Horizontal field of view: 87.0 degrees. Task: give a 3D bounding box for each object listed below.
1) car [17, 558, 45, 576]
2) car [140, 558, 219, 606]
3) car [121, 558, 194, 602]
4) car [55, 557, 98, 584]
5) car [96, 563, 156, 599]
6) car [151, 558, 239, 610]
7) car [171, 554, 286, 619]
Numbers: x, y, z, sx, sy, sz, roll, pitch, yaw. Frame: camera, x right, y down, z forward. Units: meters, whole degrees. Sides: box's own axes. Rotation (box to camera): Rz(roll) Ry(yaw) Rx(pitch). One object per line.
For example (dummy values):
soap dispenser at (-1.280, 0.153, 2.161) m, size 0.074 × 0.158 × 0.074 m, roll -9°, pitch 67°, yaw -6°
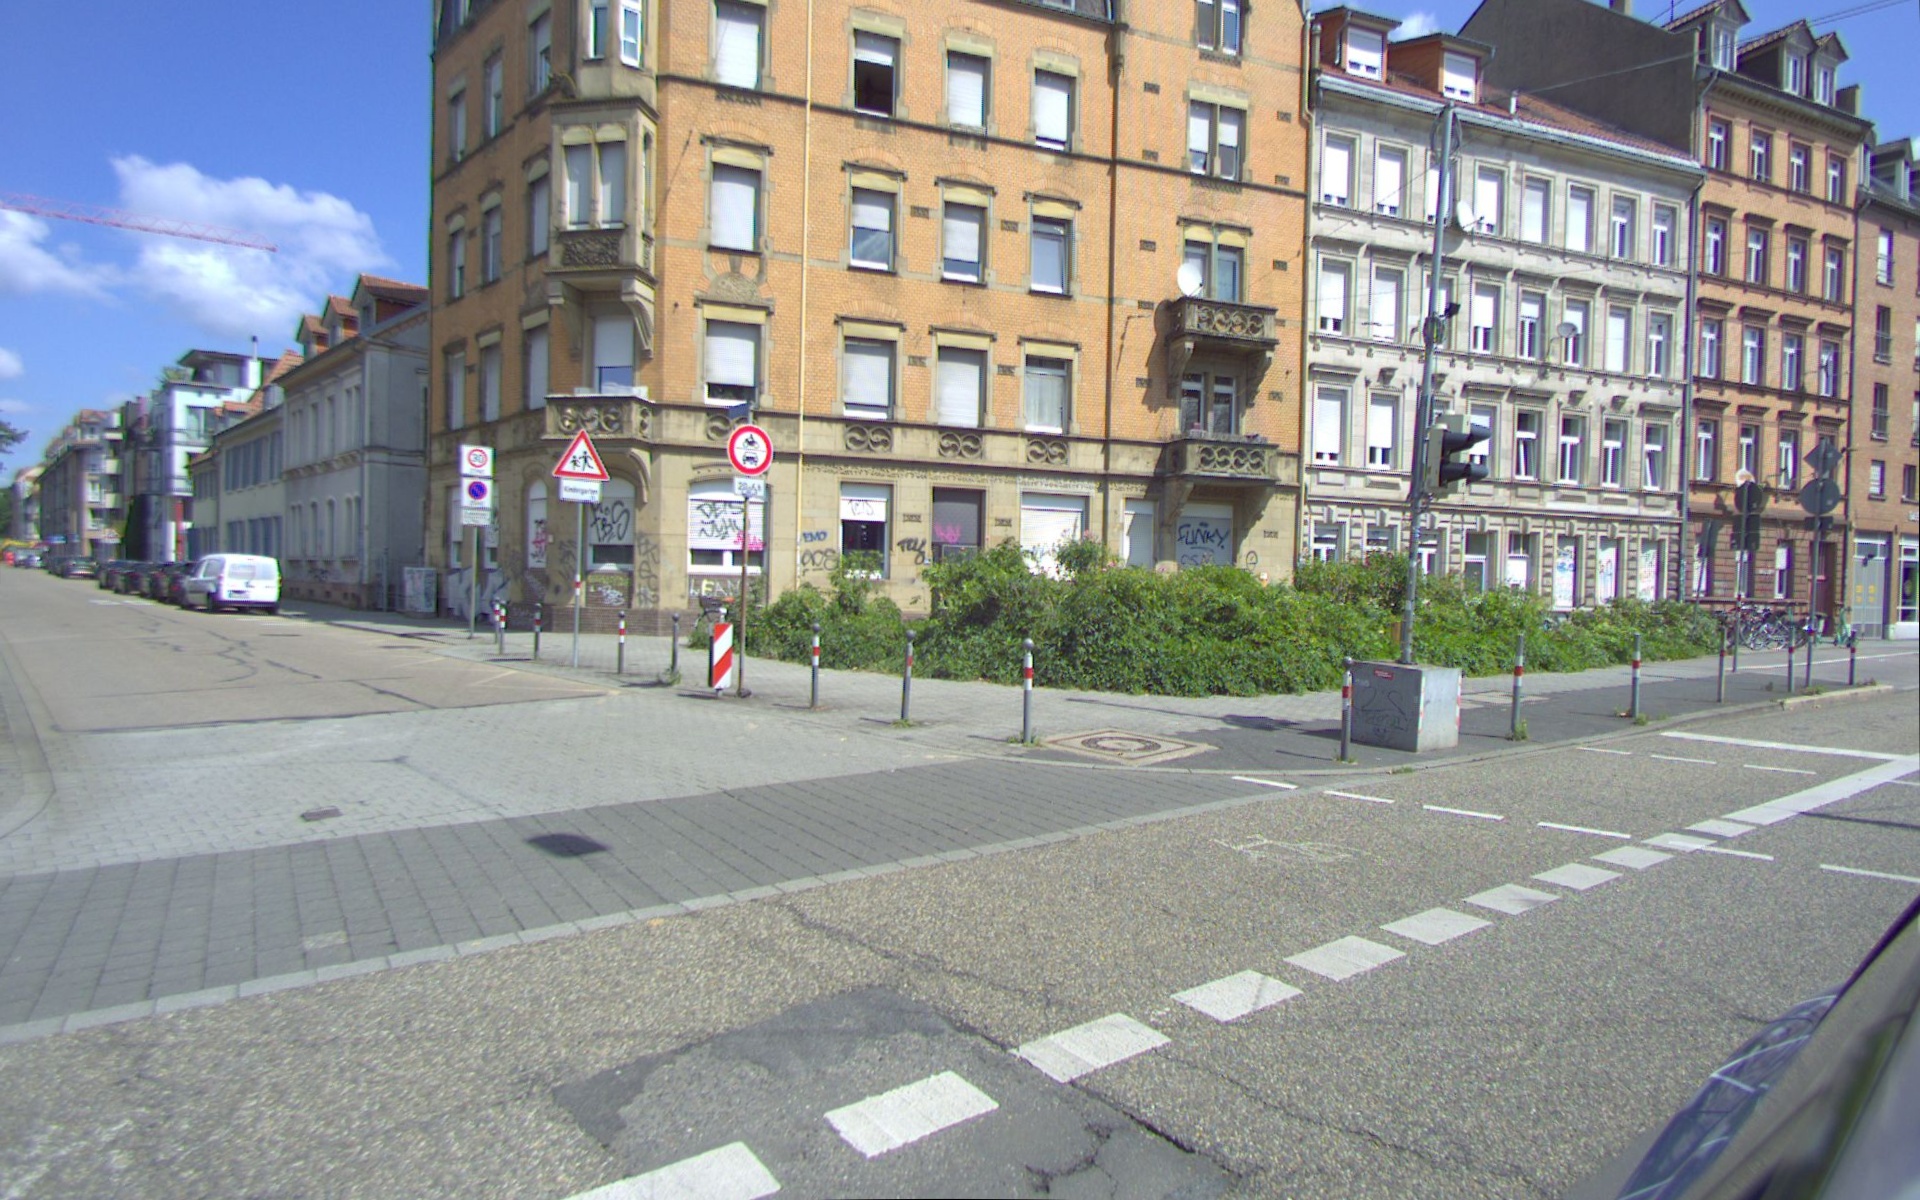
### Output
car at (-93.732, -3.355, 102.084) m, size 1.967 × 1.717 × 3.989 m, roll -1°, pitch 0°, yaw -44°
car at (-29.683, -0.675, 38.464) m, size 1.967 × 1.717 × 3.989 m, roll -1°, pitch 0°, yaw -44°
car at (-32.842, -0.799, 41.395) m, size 1.967 × 1.717 × 3.989 m, roll -1°, pitch 0°, yaw -44°
car at (-59.463, -1.981, 68.093) m, size 1.967 × 1.717 × 4.222 m, roll -1°, pitch 0°, yaw -44°
car at (-40.556, -0.899, 49.168) m, size 1.967 × 1.717 × 3.989 m, roll -1°, pitch 0°, yaw -44°
car at (-26.683, -0.553, 35.261) m, size 1.967 × 1.717 × 3.989 m, roll -2°, pitch 1°, yaw -44°
car at (-22.373, -0.443, 30.913) m, size 3.981 × 1.845 × 1.913 m, roll 2°, pitch 2°, yaw 40°
